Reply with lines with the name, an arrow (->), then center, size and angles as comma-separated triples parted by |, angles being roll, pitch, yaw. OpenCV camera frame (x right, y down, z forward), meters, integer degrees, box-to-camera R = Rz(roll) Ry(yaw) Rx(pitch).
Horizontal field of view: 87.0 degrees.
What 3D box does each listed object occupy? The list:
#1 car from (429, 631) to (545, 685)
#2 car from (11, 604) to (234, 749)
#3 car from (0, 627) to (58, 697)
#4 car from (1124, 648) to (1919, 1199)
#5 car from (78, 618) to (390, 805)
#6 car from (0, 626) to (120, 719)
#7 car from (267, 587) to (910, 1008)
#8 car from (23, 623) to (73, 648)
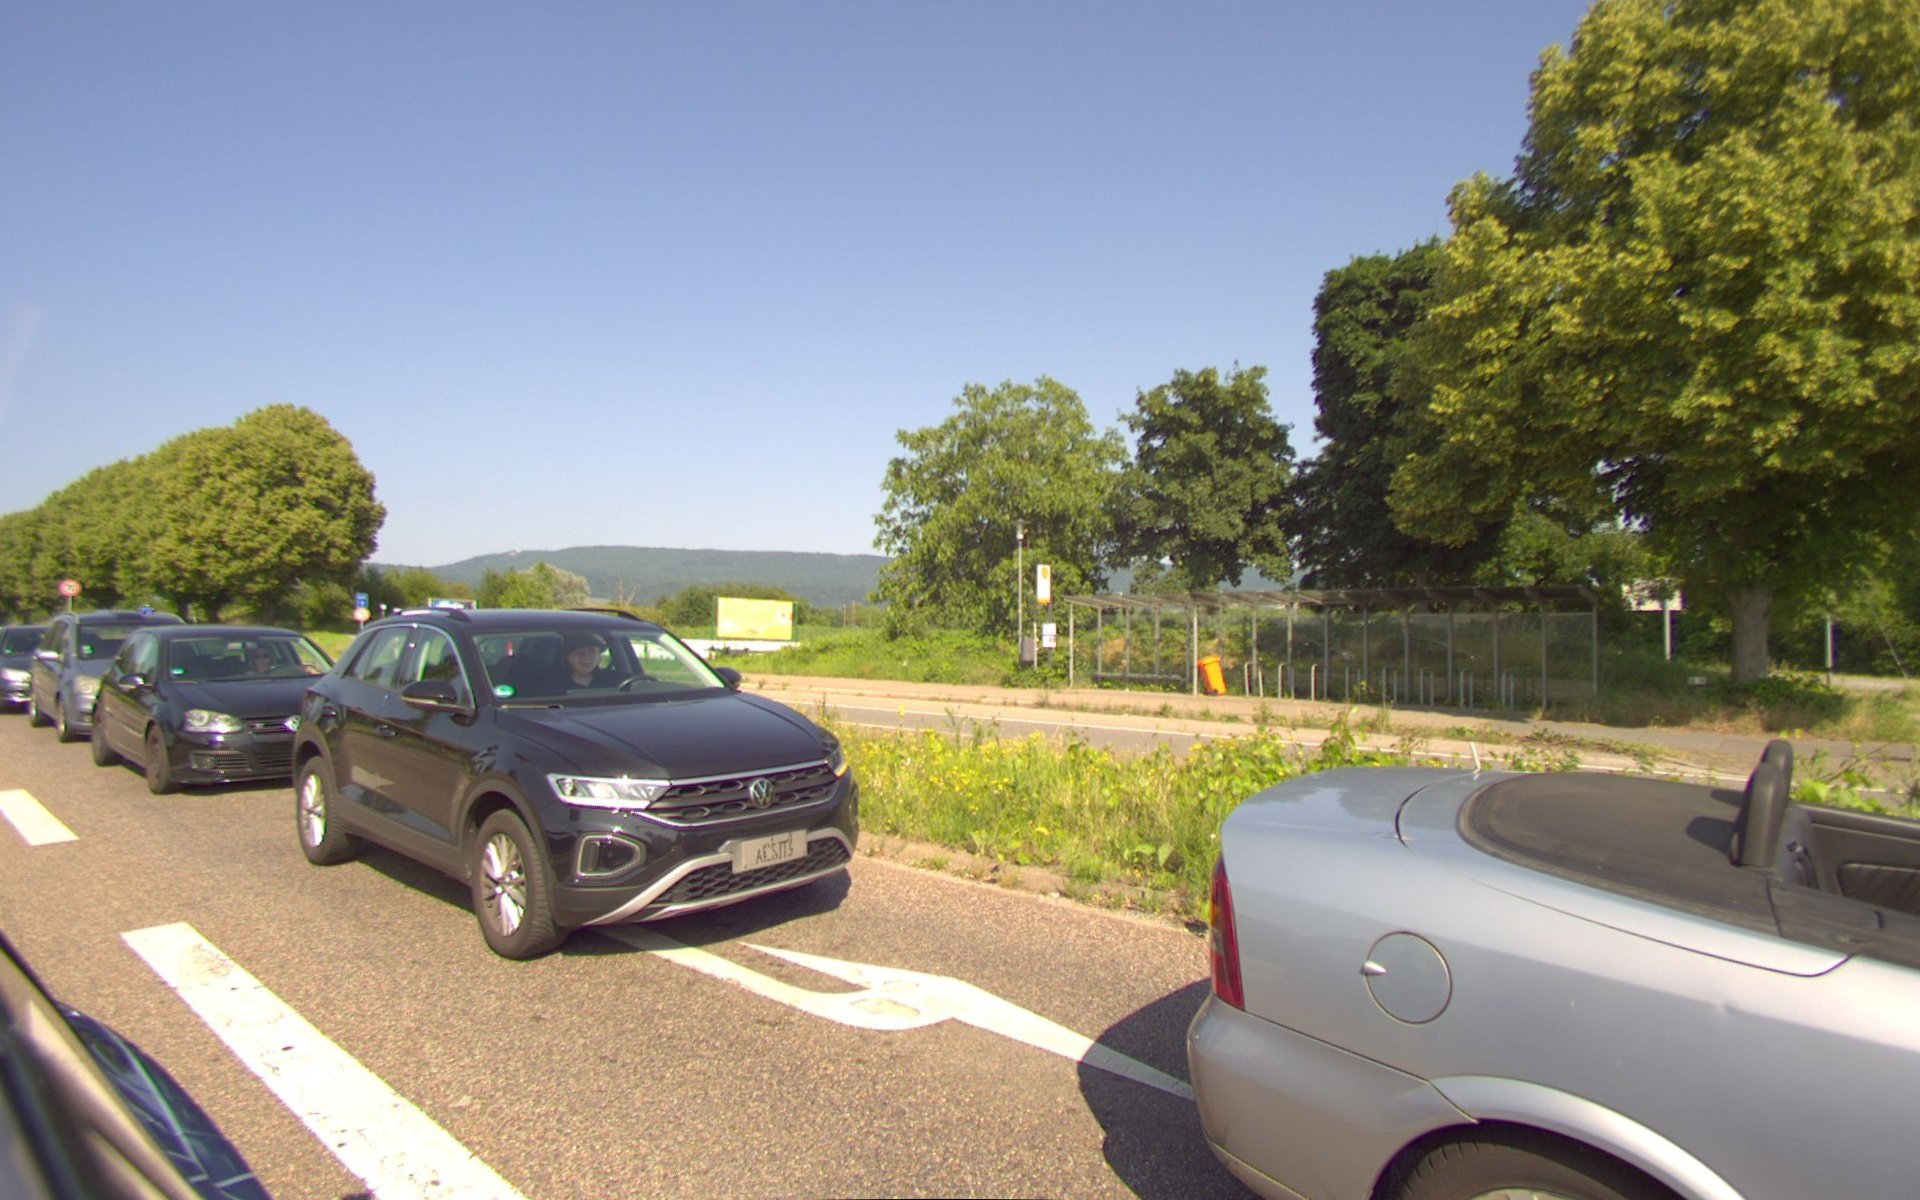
car -> -13.964, 1.699, 29.793 | 3.773, 1.453, 1.598 | -1, -5, 40
car -> -11.616, 0.946, 13.935 | 4.355, 1.685, 1.723 | -2, -2, 42
car -> -21.462, 1.316, 22.307 | 4.639, 1.436, 1.784 | -1, -1, 41
car -> 2.425, 0.775, 1.447 | 4.096, 1.345, 1.656 | -1, -3, 42
car -> -7.325, 0.944, 10.059 | 4.096, 1.486, 1.648 | -2, -2, 42
car -> -16.213, 1.189, 17.703 | 4.353, 1.421, 1.696 | -2, -1, 42
car -> -2.341, 0.786, 5.772 | 4.096, 1.559, 1.710 | -2, -2, 42
car -> -57.233, 2.222, 63.473 | 4.147, 1.527, 1.862 | -1, -4, 42
